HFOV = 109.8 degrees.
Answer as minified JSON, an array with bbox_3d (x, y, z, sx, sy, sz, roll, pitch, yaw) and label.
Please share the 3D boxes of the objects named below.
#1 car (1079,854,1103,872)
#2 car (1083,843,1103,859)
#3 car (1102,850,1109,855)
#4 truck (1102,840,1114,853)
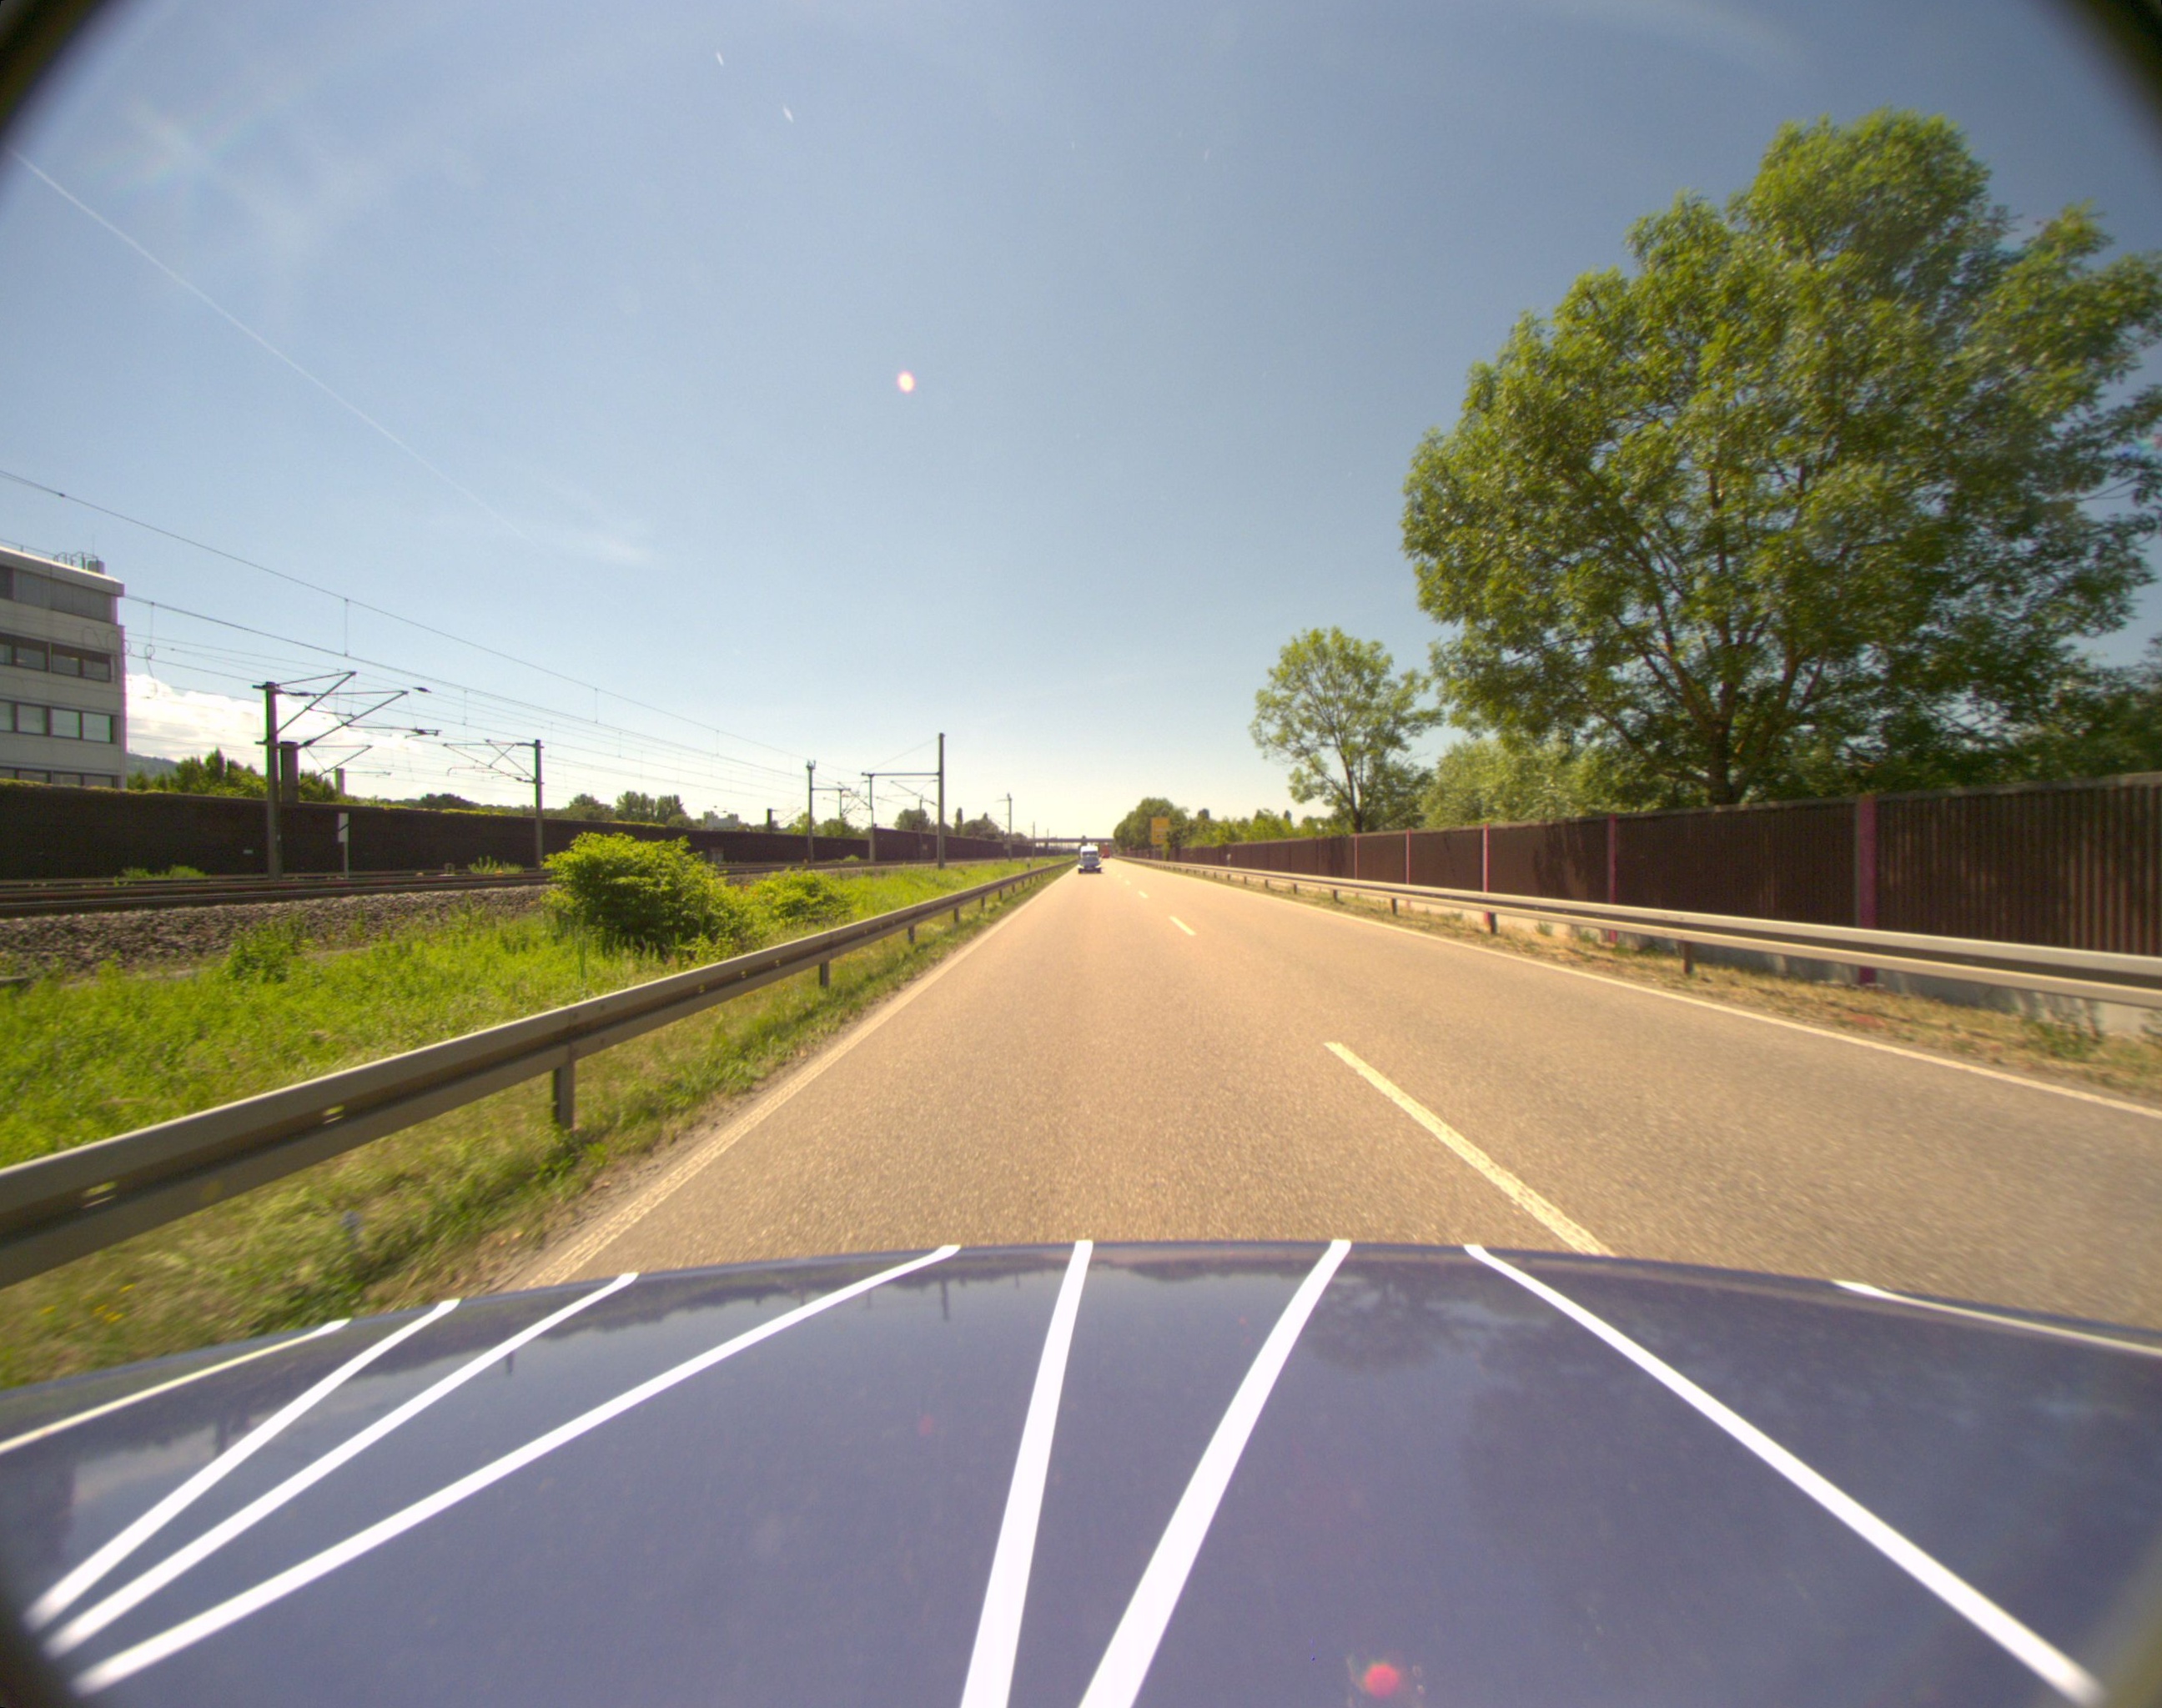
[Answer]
[{"bbox_3d":[0.813,0.702,60.821,1.758,1.313,4.000,-3,0,1],"label":"car"},{"bbox_3d":[1.335,-0.346,84.271,2.161,1.701,4.492,-3,0,1],"label":"car"},{"bbox_3d":[6.974,-0.439,216.652,1.994,1.486,4.493,-3,0,1],"label":"car"},{"bbox_3d":[8.092,-2.253,228.776,3.132,3.942,9.718,-3,0,1],"label":"truck"}]
